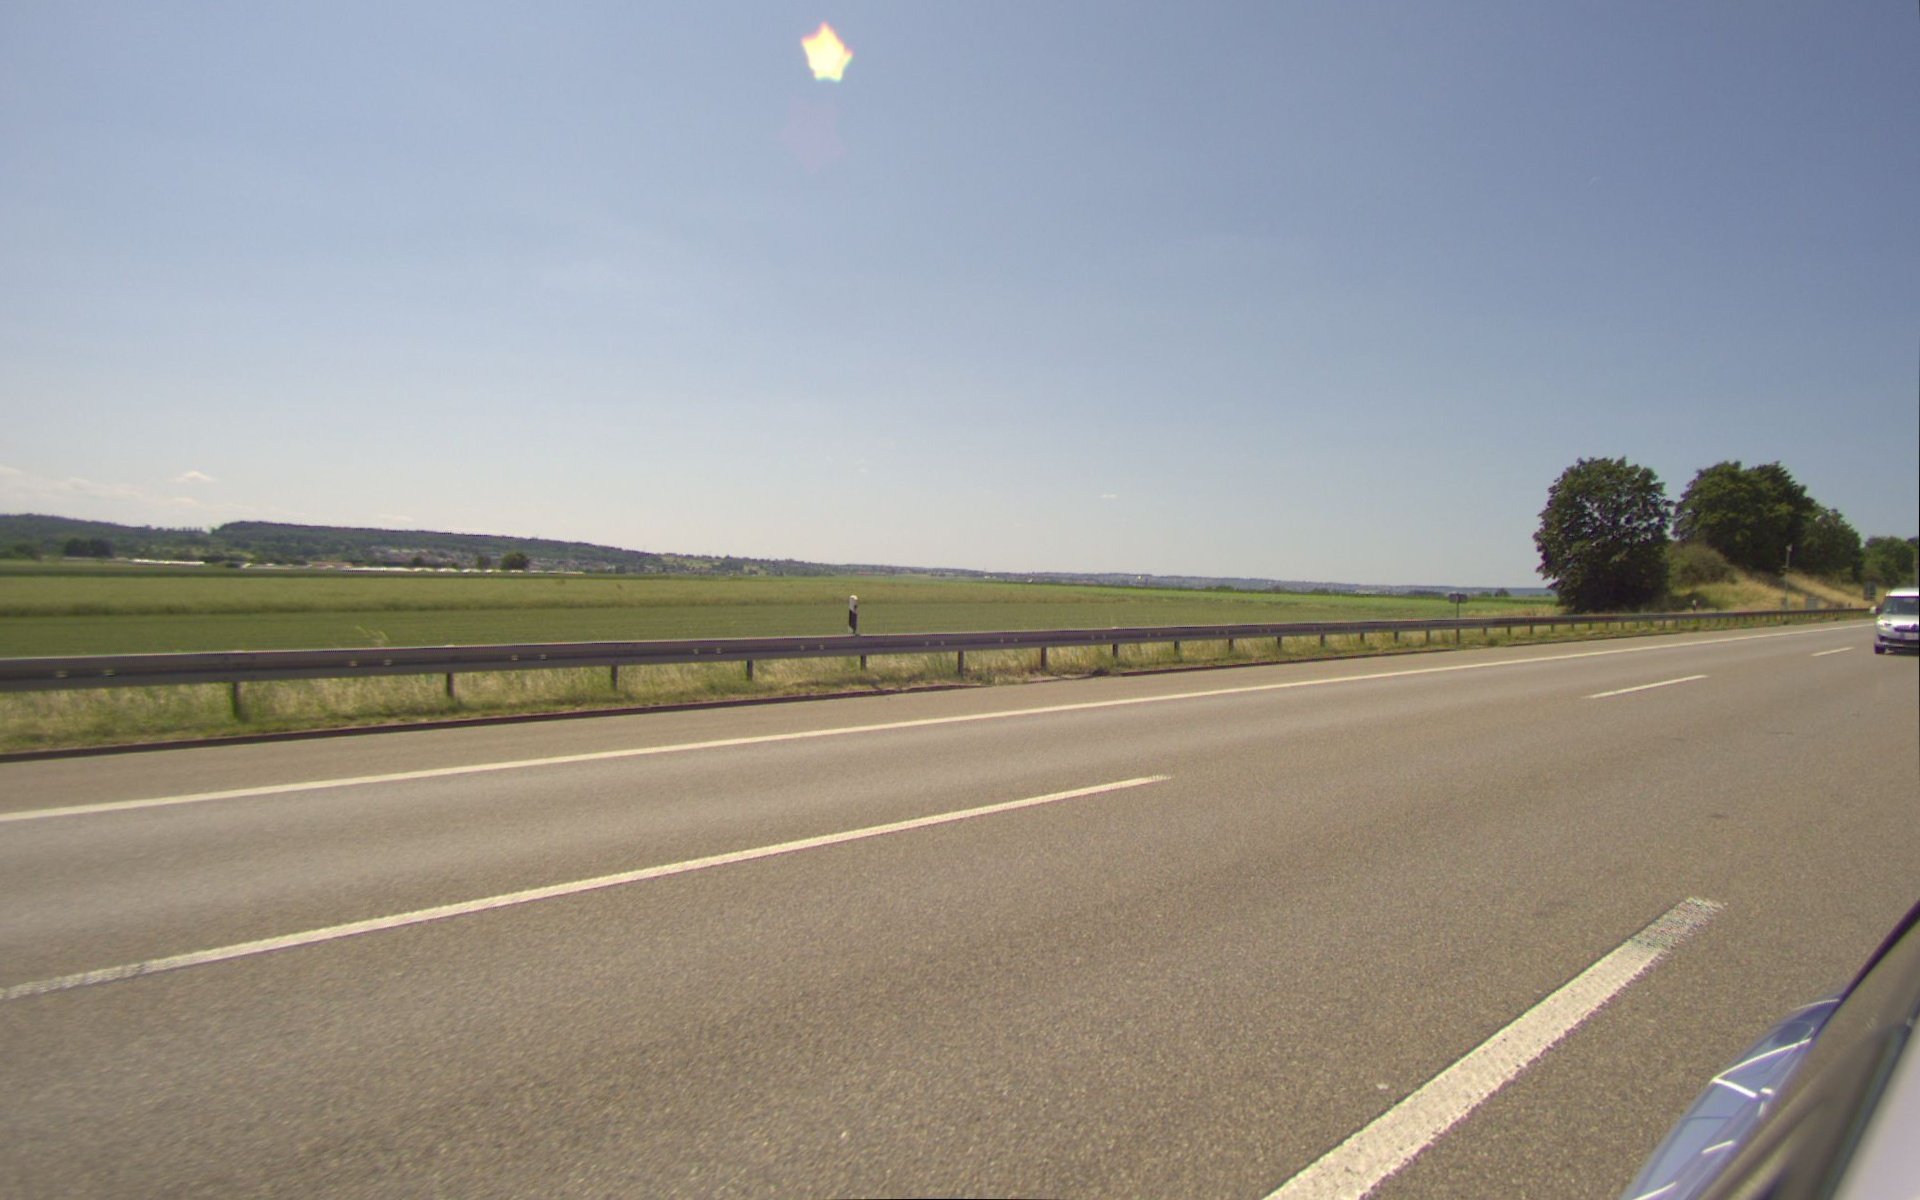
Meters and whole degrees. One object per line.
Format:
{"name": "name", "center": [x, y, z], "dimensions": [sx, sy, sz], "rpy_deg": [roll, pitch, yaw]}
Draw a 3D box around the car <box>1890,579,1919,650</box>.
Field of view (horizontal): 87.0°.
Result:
{"name": "car", "center": [27.493, 0.383, 28.271], "dimensions": [5.221, 1.870, 1.809], "rpy_deg": [0, 0, -43]}
